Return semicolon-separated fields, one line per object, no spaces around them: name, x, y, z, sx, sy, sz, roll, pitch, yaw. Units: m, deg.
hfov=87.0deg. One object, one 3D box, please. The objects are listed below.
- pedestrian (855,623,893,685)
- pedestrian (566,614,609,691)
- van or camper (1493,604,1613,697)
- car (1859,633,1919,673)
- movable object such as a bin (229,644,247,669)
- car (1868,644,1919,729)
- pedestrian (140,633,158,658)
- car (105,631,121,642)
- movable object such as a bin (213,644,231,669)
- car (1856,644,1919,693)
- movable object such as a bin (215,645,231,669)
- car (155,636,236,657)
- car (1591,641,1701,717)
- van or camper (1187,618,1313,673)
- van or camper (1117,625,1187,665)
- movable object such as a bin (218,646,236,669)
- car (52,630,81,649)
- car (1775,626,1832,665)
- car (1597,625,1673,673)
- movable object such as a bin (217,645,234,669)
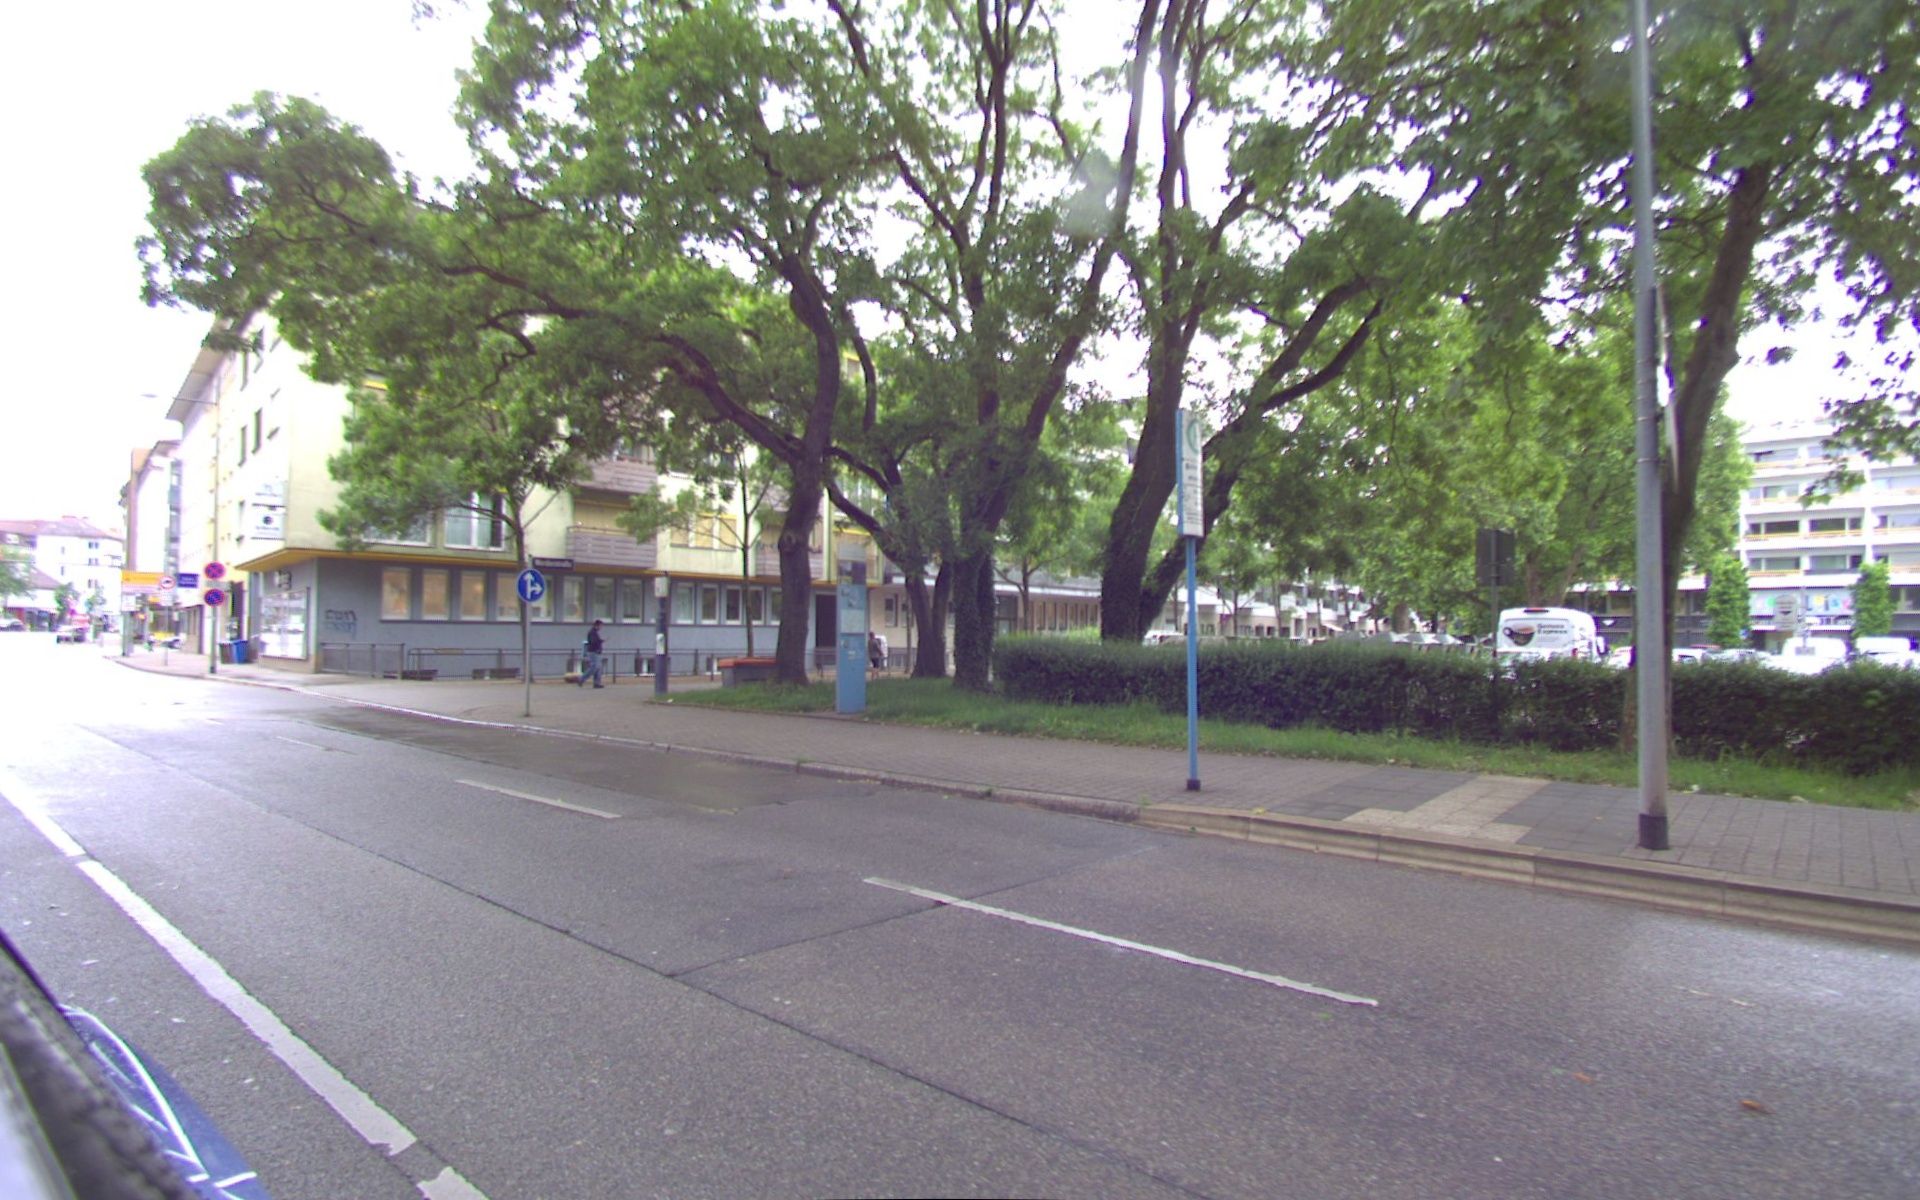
pedestrian;-2.785;1.733;32.715;0.906;1.939;0.820;2;-3;-43
pedestrian;-9.857;1.382;26.817;0.773;2.029;0.750;0;-2;11
van or camper;17.041;1.409;28.999;2.099;2.450;4.280;-2;-3;42
car;40.501;2.275;44.011;1.895;1.497;3.948;-1;0;39
movable object such as a bin;-29.662;2.319;41.570;0.522;0.968;0.435;-3;0;-42
car;20.682;1.787;21.460;1.895;1.497;3.948;-1;0;39
pedestrian;-53.235;2.951;66.418;0.773;1.600;0.675;-1;-1;-29
car;-126.703;5.431;151.420;1.567;1.539;3.496;2;-3;-36
movable object such as a bin;-31.487;2.398;43.171;0.510;1.008;0.524;-3;0;-42
car;33.534;2.416;36.314;1.895;1.497;3.948;-1;0;39
movable object such as a bin;-30.985;2.394;42.567;0.458;0.935;0.429;-3;0;-42
car;-60.521;3.678;80.176;4.897;1.618;1.563;3;-4;-45
car;16.906;1.856;24.853;1.895;1.497;3.948;-1;0;39
van or camper;14.217;2.182;49.149;2.561;2.420;8.535;-2;-3;41
van or camper;10.577;2.498;55.463;1.825;2.029;4.576;1;-2;38
movable object such as a bin;-30.274;2.374;41.806;0.522;0.902;0.435;-3;0;-42
car;-82.053;3.622;92.985;1.807;1.634;4.007;2;-3;-39
car;42.069;2.239;50.533;2.097;1.735;3.948;-1;0;39
car;24.230;1.704;36.293;1.895;1.497;3.948;-1;0;39
movable object such as a bin;-30.667;2.379;42.255;0.521;0.935;0.426;-3;0;-42
